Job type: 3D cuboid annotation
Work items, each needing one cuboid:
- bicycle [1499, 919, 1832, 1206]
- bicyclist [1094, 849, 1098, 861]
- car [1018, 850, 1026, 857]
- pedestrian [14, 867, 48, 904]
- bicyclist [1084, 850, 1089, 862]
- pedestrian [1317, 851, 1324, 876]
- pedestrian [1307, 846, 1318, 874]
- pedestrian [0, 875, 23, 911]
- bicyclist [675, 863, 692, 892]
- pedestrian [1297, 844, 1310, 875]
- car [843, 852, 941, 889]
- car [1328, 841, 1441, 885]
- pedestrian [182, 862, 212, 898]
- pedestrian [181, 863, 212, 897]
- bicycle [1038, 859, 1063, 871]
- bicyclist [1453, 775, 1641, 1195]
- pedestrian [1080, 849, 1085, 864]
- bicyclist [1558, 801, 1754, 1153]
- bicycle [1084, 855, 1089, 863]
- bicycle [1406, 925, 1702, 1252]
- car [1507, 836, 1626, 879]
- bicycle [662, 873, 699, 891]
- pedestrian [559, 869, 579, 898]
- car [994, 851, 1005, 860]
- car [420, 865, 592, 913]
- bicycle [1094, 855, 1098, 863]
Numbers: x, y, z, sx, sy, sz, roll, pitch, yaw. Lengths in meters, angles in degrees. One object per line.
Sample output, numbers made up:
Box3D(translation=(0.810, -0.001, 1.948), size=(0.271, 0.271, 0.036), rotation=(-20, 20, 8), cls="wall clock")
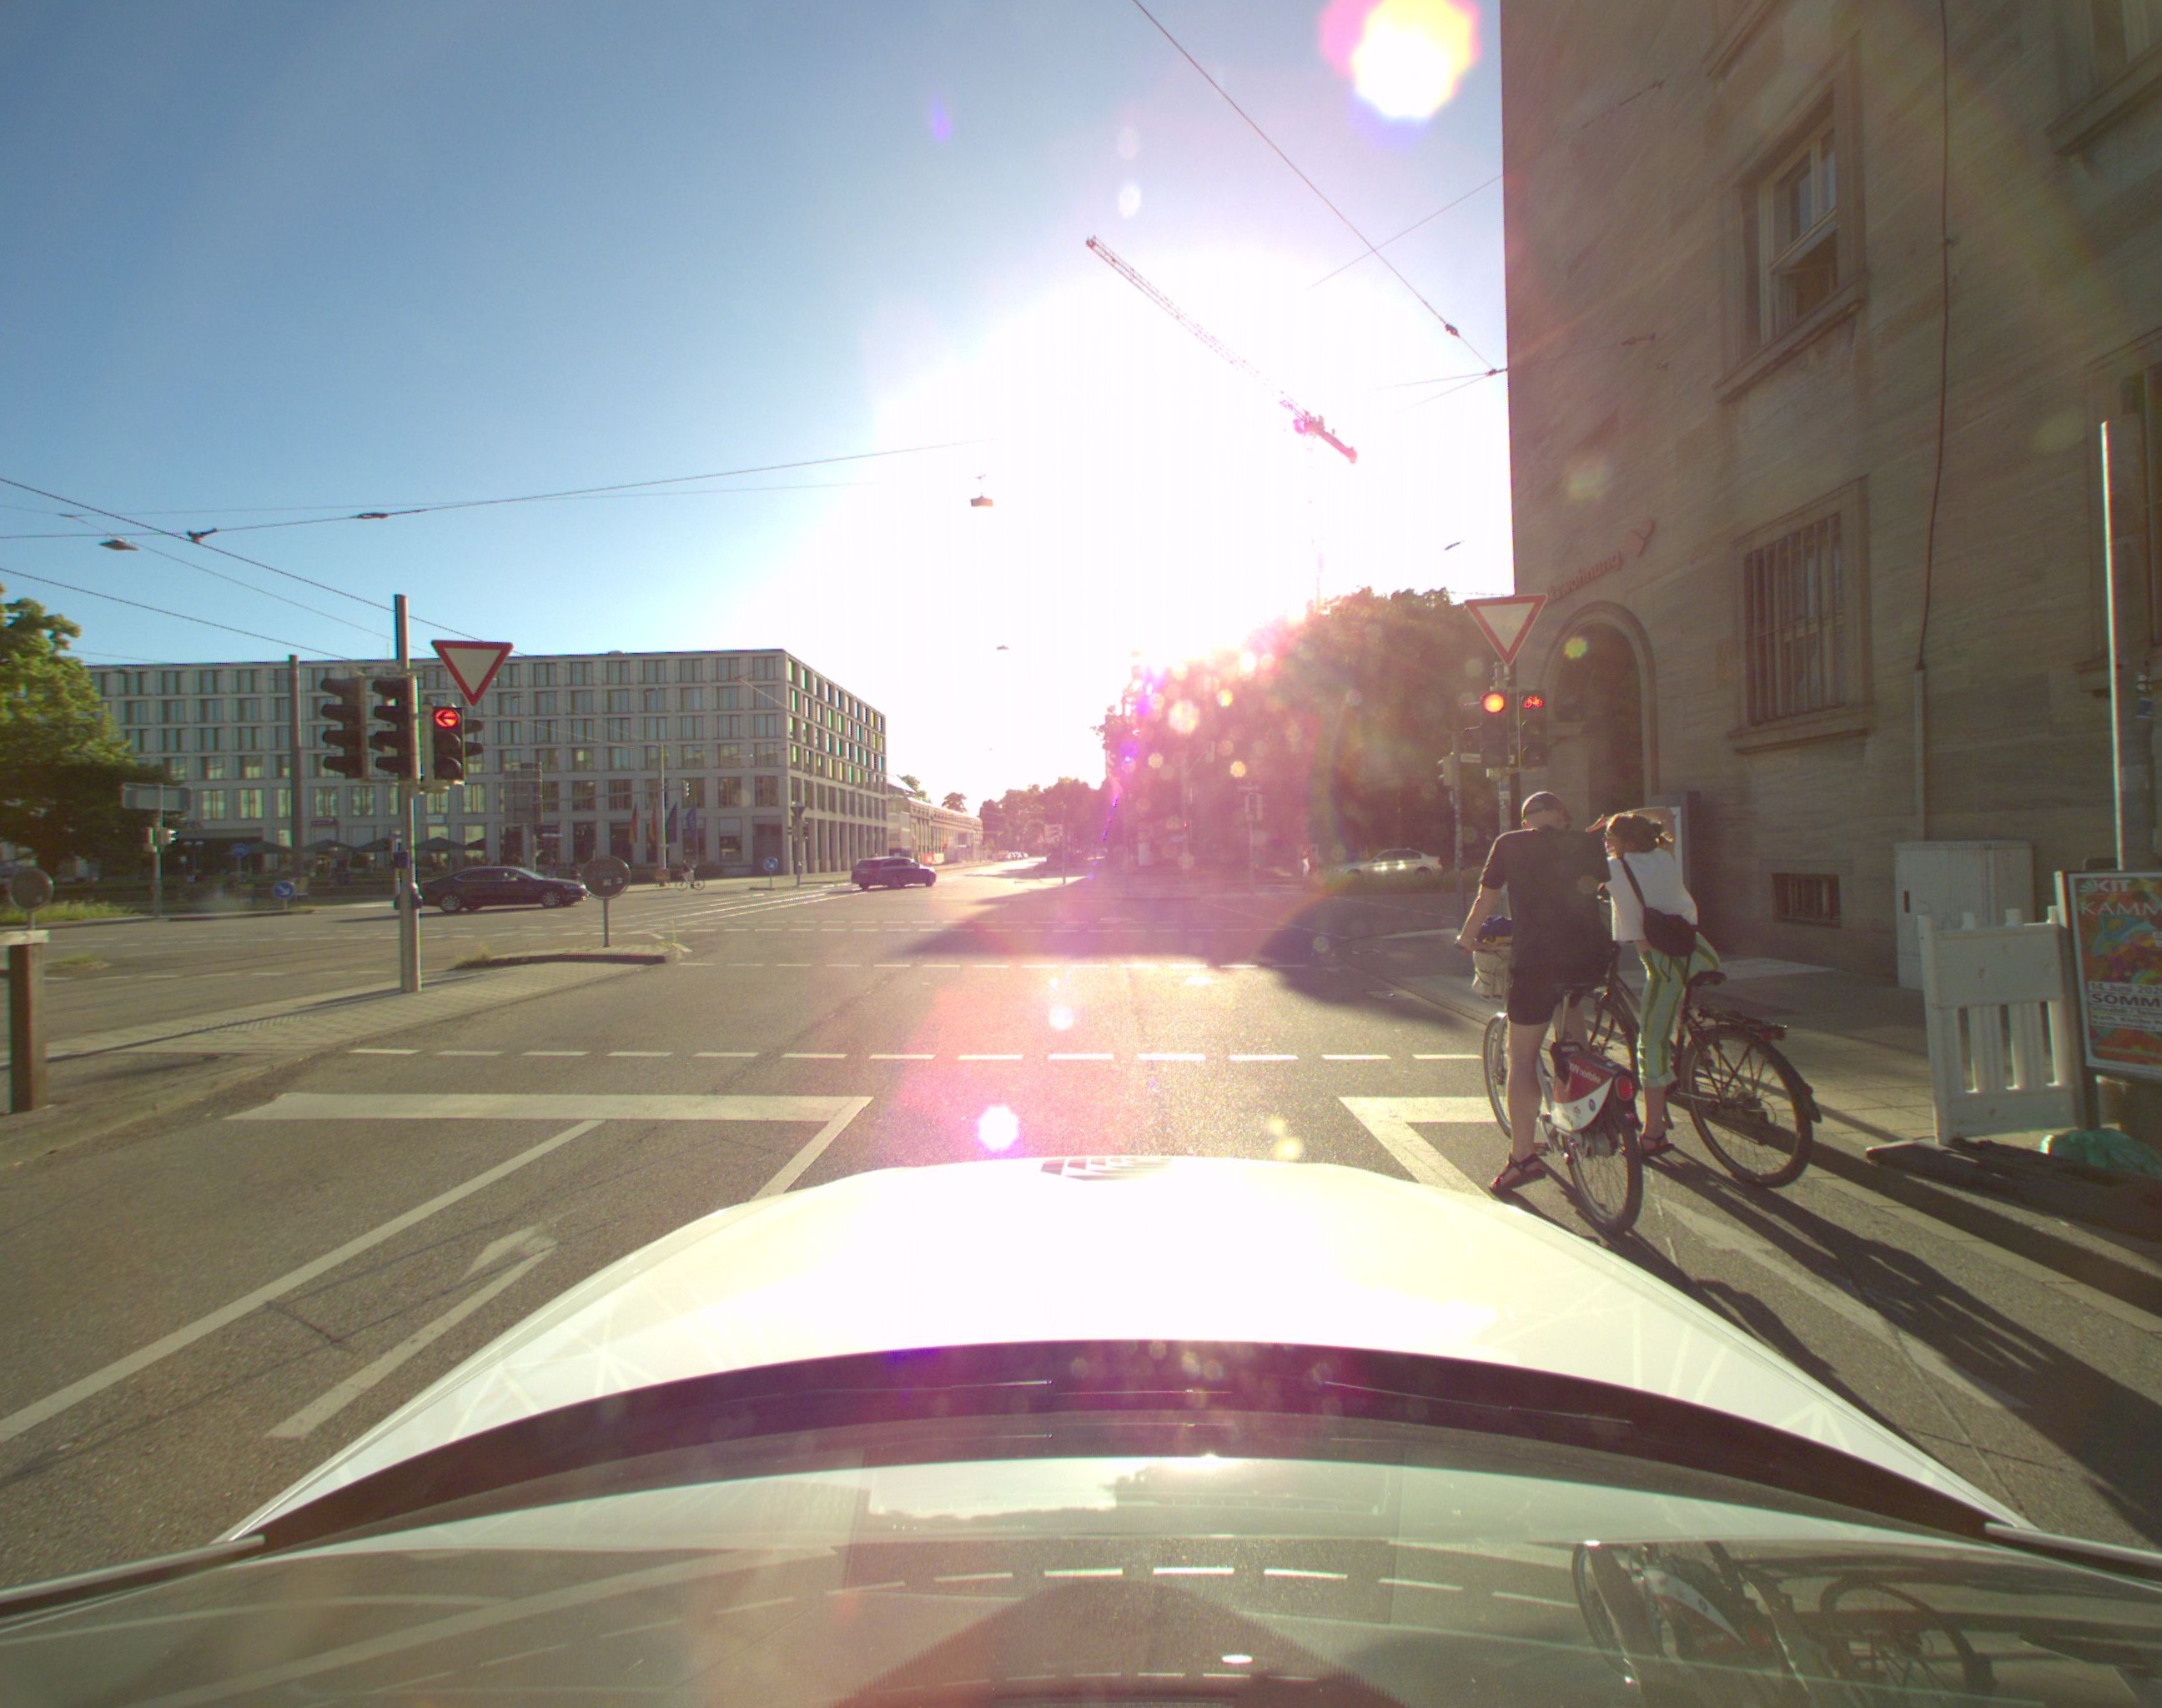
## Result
Box3D(translation=(2.949, 0.959, 4.355), size=(0.532, 1.077, 1.751), rotation=(-1, 0, 1), cls="bicycle")
Box3D(translation=(2.043, 0.140, 111.158), size=(0.567, 1.691, 0.700), rotation=(-2, 0, 1), cls="bicyclist")
Box3D(translation=(-14.228, -0.113, 195.324), size=(1.688, 1.718, 4.245), rotation=(0, -1, -1), cls="car")
Box3D(translation=(-58.402, 1.742, 45.304), size=(0.838, 2.014, 0.826), rotation=(-1, -1, 7), cls="pedestrian")
Box3D(translation=(0.740, 0.300, 111.313), size=(0.567, 1.691, 0.700), rotation=(-2, 0, 1), cls="bicyclist")
Box3D(translation=(12.786, 0.513, 43.485), size=(0.316, 1.316, 0.345), rotation=(-1, 1, 4), cls="pedestrian")
Box3D(translation=(12.576, 0.338, 44.253), size=(0.437, 1.503, 0.437), rotation=(-2, 0, 3), cls="pedestrian")
Box3D(translation=(-58.536, 2.124, 44.335), size=(0.712, 1.900, 0.876), rotation=(0, -1, 6), cls="pedestrian")
Box3D(translation=(-22.995, 1.351, 47.085), size=(0.778, 1.589, 0.756), rotation=(-2, 0, -22), cls="bicyclist")
Box3D(translation=(11.950, 0.277, 43.763), size=(0.580, 1.663, 0.515), rotation=(-1, 1, 4), cls="pedestrian")
Box3D(translation=(-8.880, 0.745, 38.682), size=(1.875, 1.565, 4.835), rotation=(-2, 0, 25), cls="car")
Box3D(translation=(12.353, 0.351, 33.257), size=(3.979, 1.611, 1.650), rotation=(-2, 0, 1), cls="car")
Box3D(translation=(-49.788, 1.471, 45.857), size=(0.837, 2.014, 0.827), rotation=(-1, -1, 11), cls="pedestrian")
Box3D(translation=(-48.727, 1.426, 44.884), size=(0.711, 1.900, 0.877), rotation=(-1, -1, 9), cls="pedestrian")
Box3D(translation=(-2.564, 0.908, 67.706), size=(1.996, 0.891, 0.655), rotation=(-4, -1, 29), cls="bicycle")
Box3D(translation=(2.129, 0.562, 3.781), size=(0.556, 1.799, 0.551), rotation=(-1, 0, 3), cls="bicyclist")
Box3D(translation=(0.192, 0.350, 98.531), size=(0.462, 1.813, 0.502), rotation=(-2, 0, -3), cls="pedestrian")
Box3D(translation=(2.960, 0.592, 4.248), size=(0.556, 1.691, 0.640), rotation=(-1, 0, 0), cls="bicyclist")
Box3D(translation=(0.795, 0.676, 111.293), size=(0.573, 1.077, 1.831), rotation=(-2, 0, 1), cls="bicycle")
Box3D(translation=(2.127, 0.958, 3.938), size=(0.513, 1.077, 1.729), rotation=(-1, 0, 4), cls="bicycle")
Box3D(translation=(19.734, 0.133, 33.189), size=(3.835, 1.611, 1.650), rotation=(-2, 0, 1), cls="car")
Box3D(translation=(-23.116, 1.616, 47.022), size=(1.865, 0.935, 0.757), rotation=(-2, 0, -23), cls="bicycle")
Box3D(translation=(-28.658, 1.627, 45.603), size=(0.588, 1.589, 0.776), rotation=(-2, 0, -5), cls="pedestrian")
Box3D(translation=(-15.658, 0.269, 157.074), size=(1.688, 1.718, 4.245), rotation=(0, -1, -1), cls="car")
Box3D(translation=(-19.309, 1.142, 27.561), size=(4.426, 1.455, 1.657), rotation=(-1, 0, -16), cls="car")
Box3D(translation=(2.055, 0.668, 111.221), size=(0.573, 1.077, 1.831), rotation=(-2, 0, 1), cls="bicycle")
